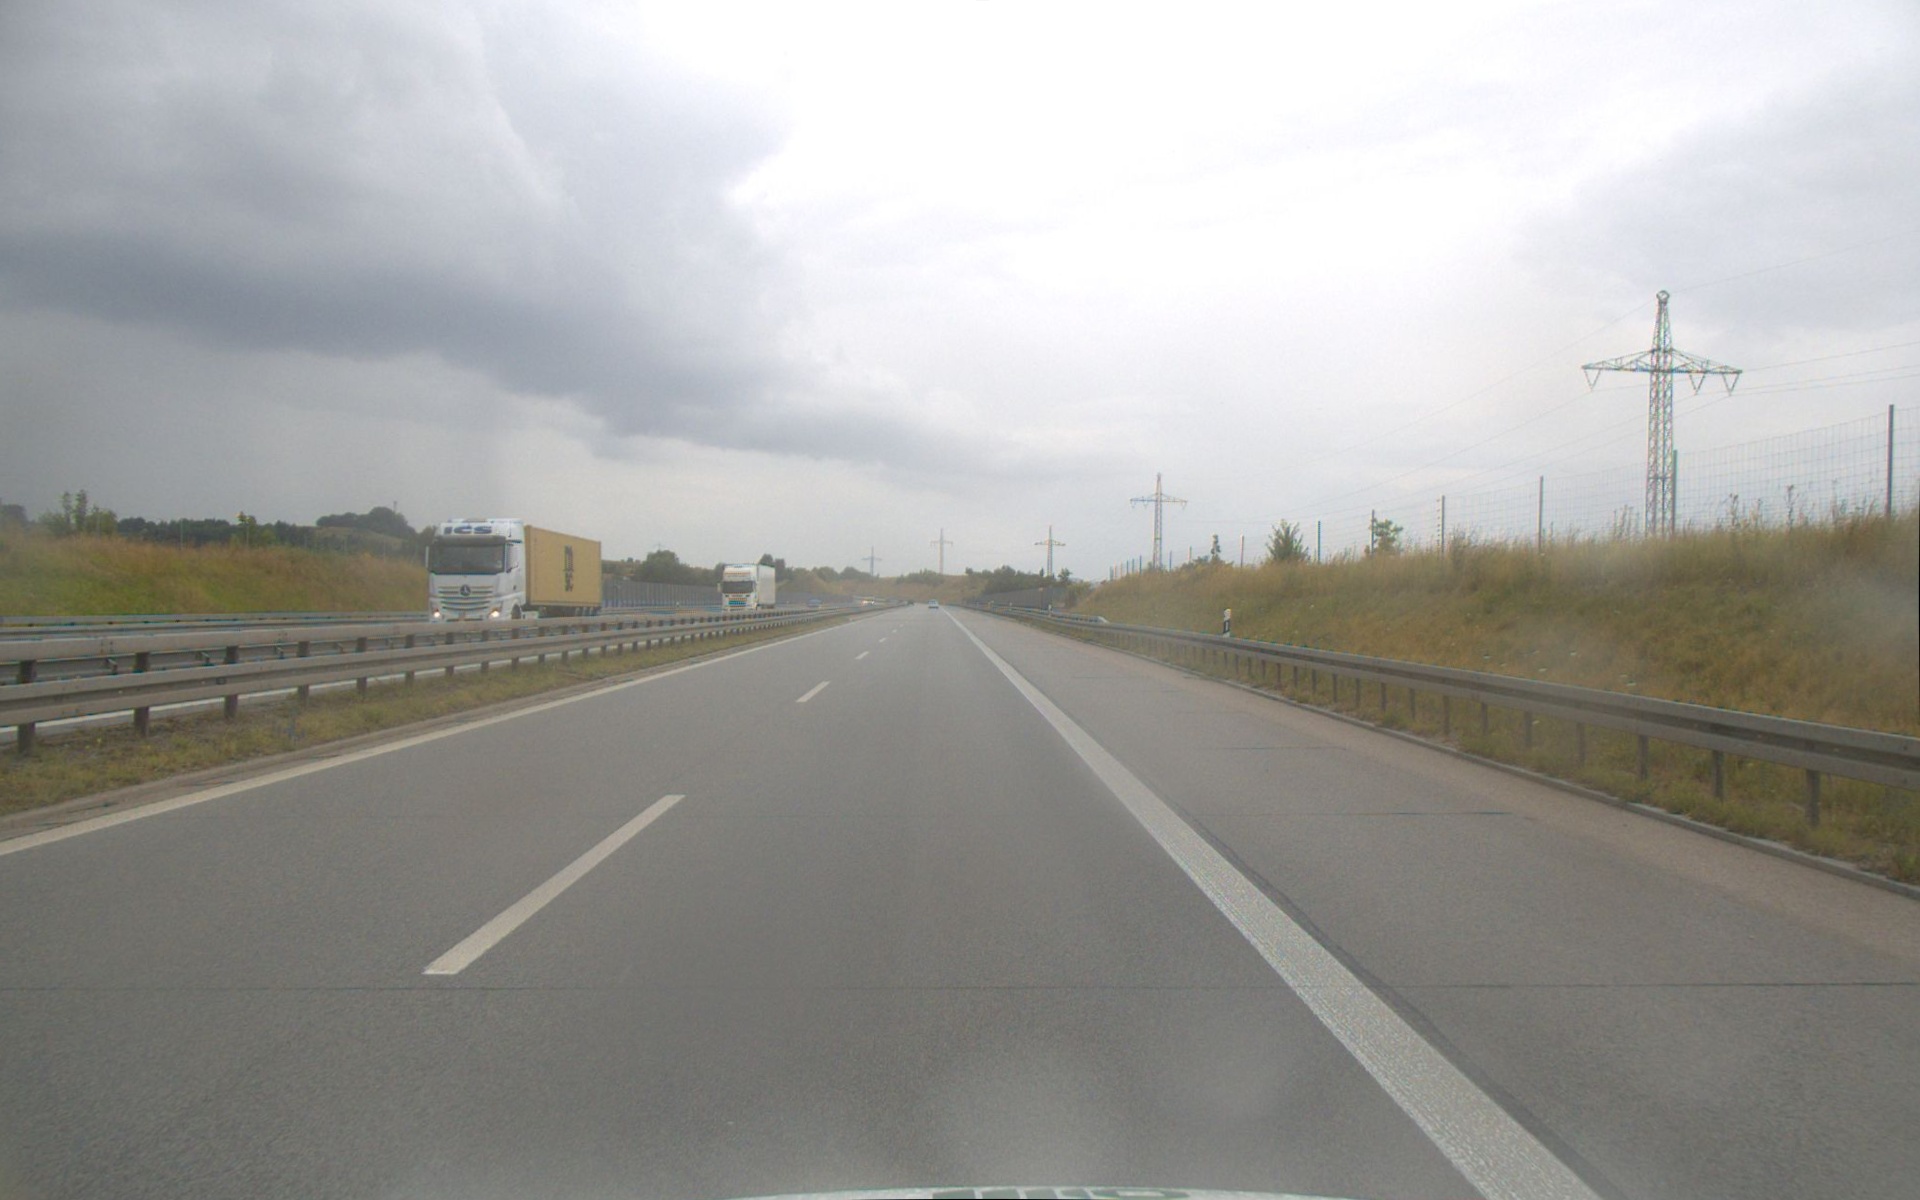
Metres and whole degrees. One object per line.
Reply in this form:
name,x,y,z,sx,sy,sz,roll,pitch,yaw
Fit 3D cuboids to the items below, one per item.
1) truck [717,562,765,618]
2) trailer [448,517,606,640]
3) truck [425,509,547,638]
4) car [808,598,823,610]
truck,-16.164,-0.725,122.287,2.892,3.994,5.517,0,0,-1
trailer,-15.564,-0.693,60.683,2.537,3.994,13.697,0,0,-2
truck,-15.370,-0.826,53.981,2.540,3.994,5.585,0,0,-2
car,-17.777,0.449,203.974,1.597,1.434,3.999,0,0,-1
